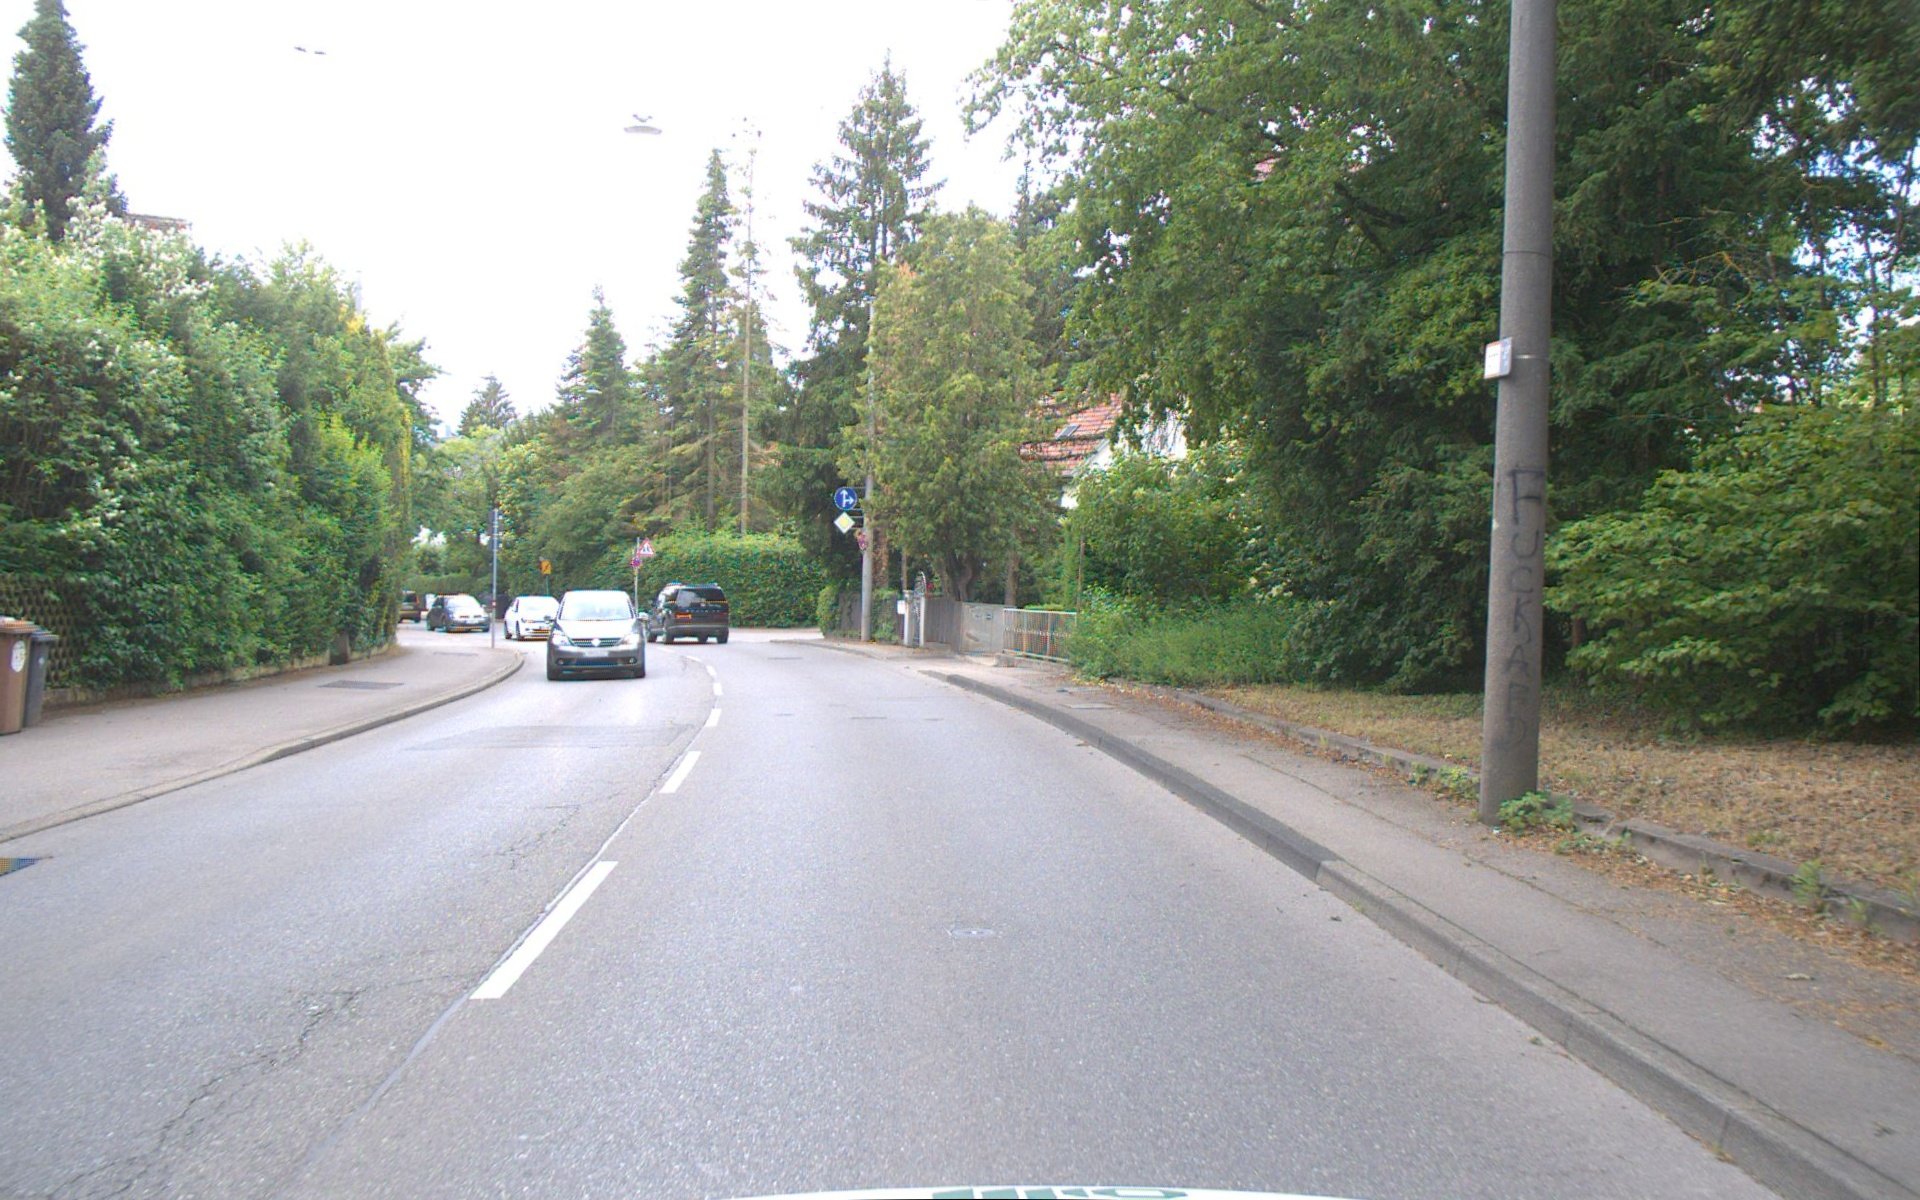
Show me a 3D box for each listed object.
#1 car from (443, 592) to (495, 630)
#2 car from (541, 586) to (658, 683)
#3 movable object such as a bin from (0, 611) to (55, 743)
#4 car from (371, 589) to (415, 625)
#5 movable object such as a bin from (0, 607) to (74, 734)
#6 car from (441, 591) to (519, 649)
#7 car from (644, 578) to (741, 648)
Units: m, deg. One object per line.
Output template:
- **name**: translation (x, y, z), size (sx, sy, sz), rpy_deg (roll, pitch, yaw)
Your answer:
- **car**: translation (-19.449, 0.411, 65.430), size (1.883, 1.422, 3.889), rpy_deg (-1, 1, -18)
- **car**: translation (-6.653, 0.585, 30.698), size (1.958, 1.646, 3.989), rpy_deg (-1, 1, -11)
- **movable object such as a bin**: translation (-8.877, 0.694, 15.224), size (0.727, 1.161, 0.645), rpy_deg (3, 0, -7)
- **car**: translation (-28.916, 0.356, 84.310), size (1.867, 1.736, 3.972), rpy_deg (1, 0, -23)
- **movable object such as a bin**: translation (-9.049, 0.671, 15.987), size (0.617, 1.164, 0.645), rpy_deg (3, 0, -7)
- **car**: translation (-13.408, 0.535, 46.370), size (1.870, 1.479, 3.783), rpy_deg (-2, 1, -14)
- **car**: translation (-8.048, 0.370, 49.564), size (1.966, 1.914, 3.973), rpy_deg (1, 1, -23)
